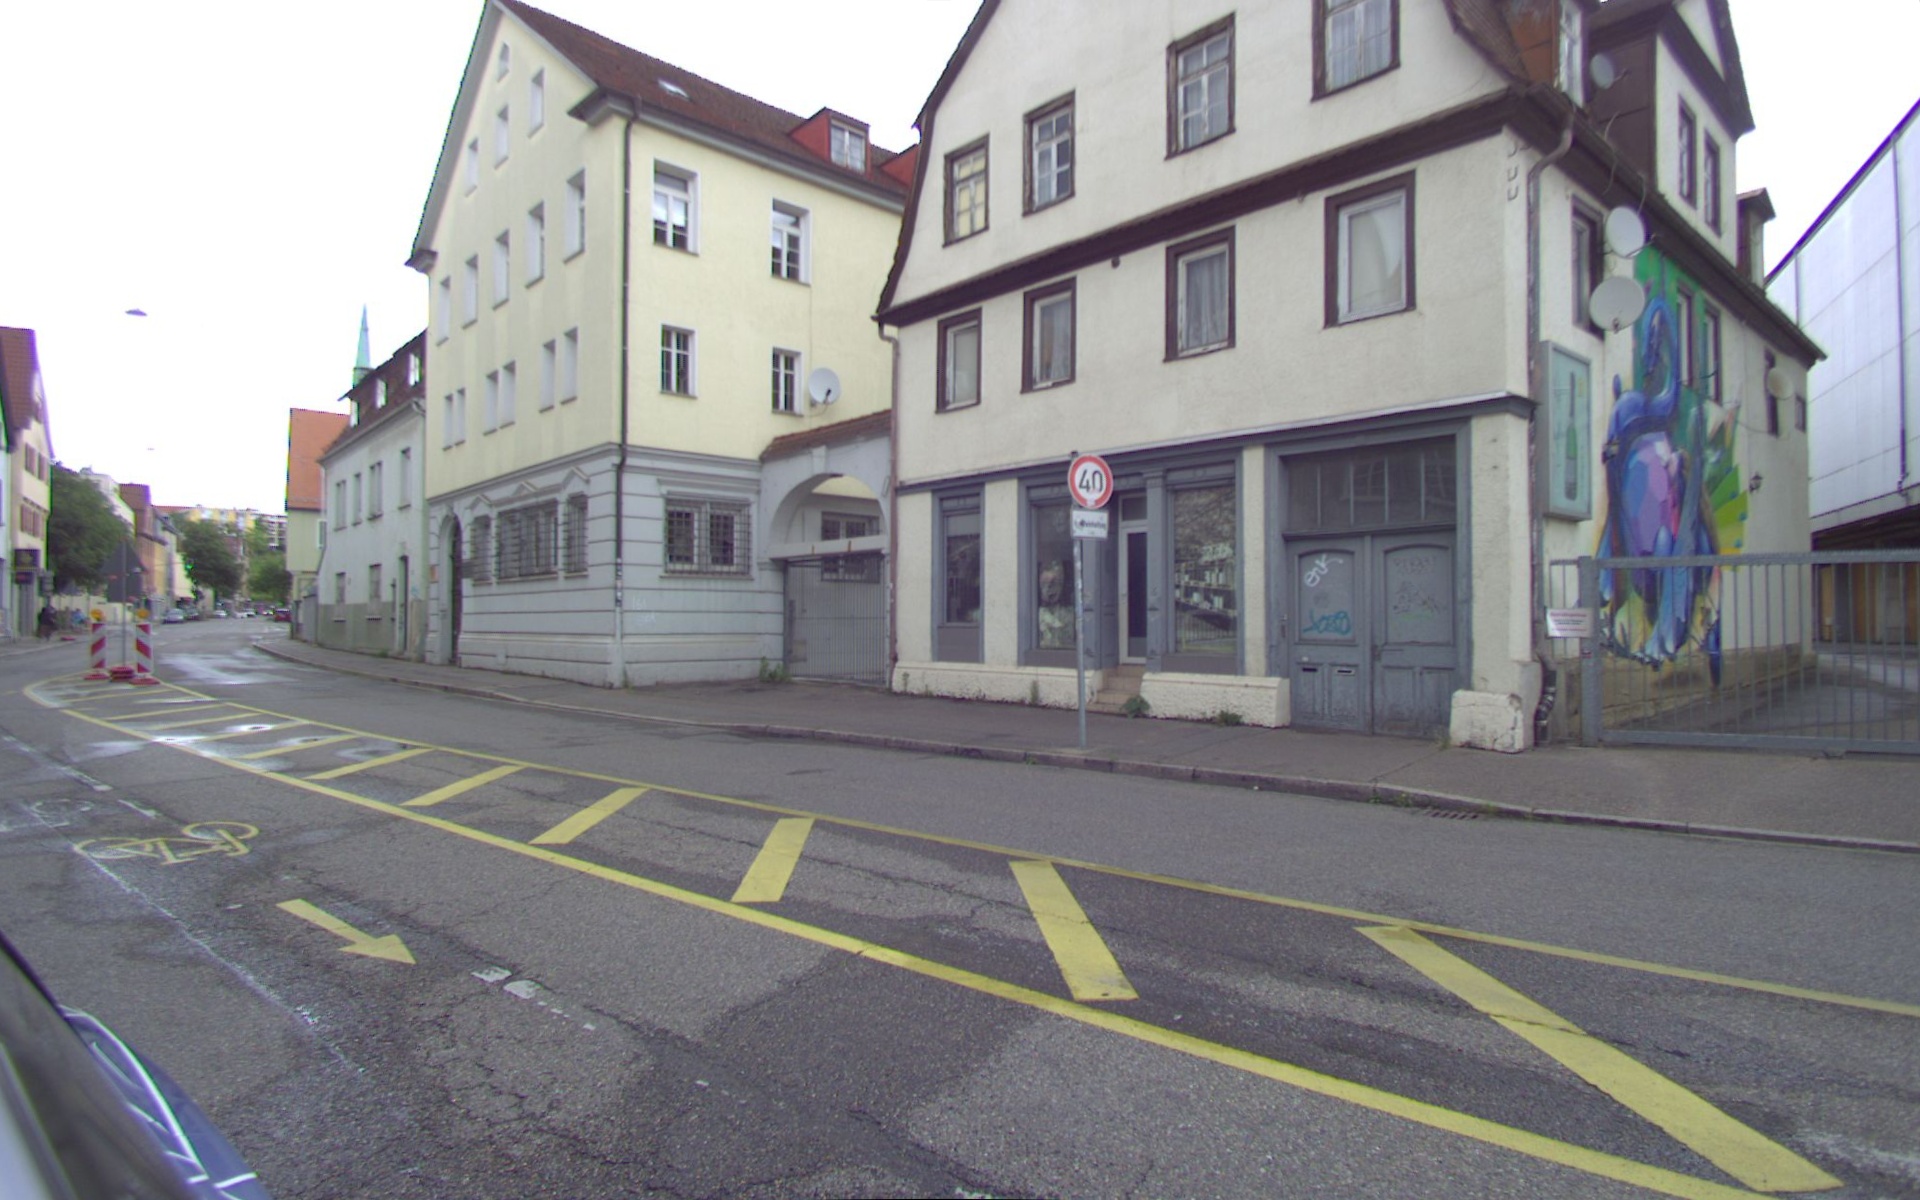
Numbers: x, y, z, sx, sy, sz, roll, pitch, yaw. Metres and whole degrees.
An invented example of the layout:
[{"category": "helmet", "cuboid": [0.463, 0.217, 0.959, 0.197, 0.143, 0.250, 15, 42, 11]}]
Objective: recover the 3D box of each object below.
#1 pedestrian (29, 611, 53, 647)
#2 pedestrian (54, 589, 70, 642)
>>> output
[{"category": "pedestrian", "cuboid": [-41.646, 1.332, 45.880, 0.714, 1.626, 0.649, 2, -3, -39]}, {"category": "pedestrian", "cuboid": [-43.796, 0.769, 49.370, 0.487, 2.547, 0.747, 1, -2, -38]}]
